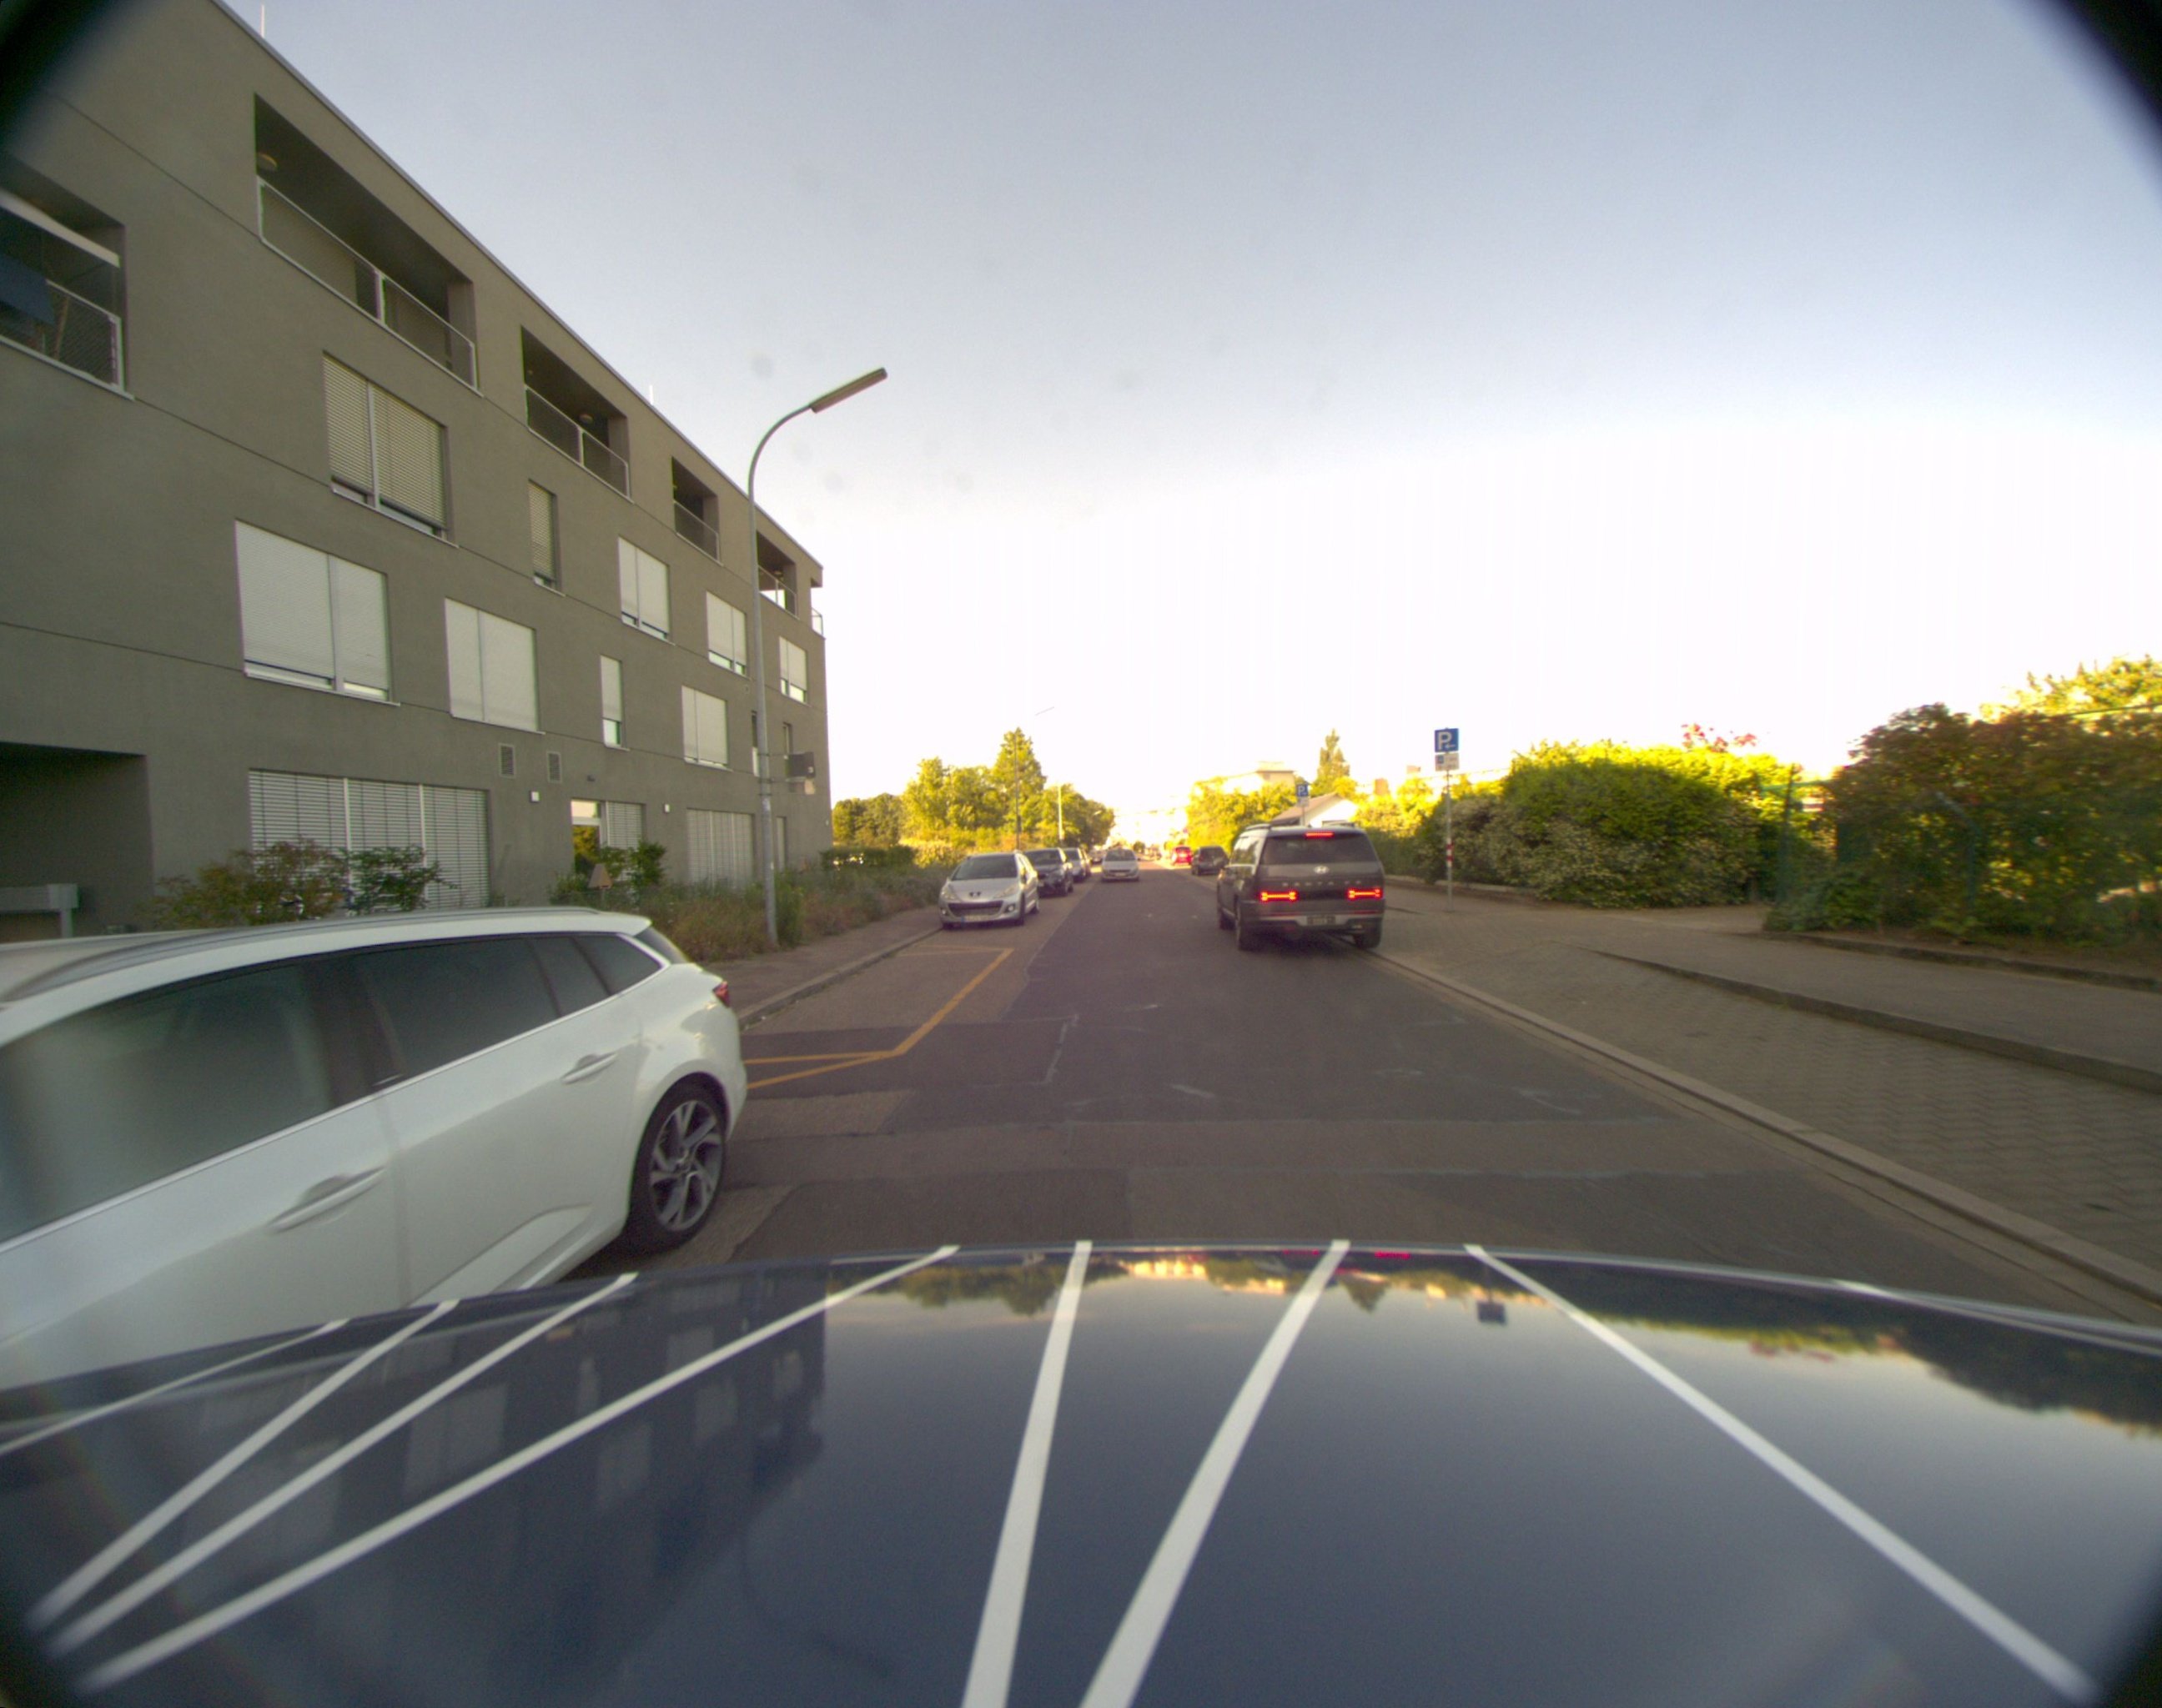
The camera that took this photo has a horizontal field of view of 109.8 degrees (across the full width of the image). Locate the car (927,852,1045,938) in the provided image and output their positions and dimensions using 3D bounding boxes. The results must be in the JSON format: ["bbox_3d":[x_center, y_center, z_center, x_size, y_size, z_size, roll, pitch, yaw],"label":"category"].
[{"bbox_3d":[-1.921,0.790,16.670,1.710,1.517,4.155,-3,1,4],"label":"car"}]

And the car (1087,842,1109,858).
[{"bbox_3d":[1.750,-0.434,76.286,1.873,1.517,4.155,-2,1,4],"label":"car"}]

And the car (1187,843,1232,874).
[{"bbox_3d":[6.563,0.177,39.204,1.700,1.415,4.517,-4,1,3],"label":"car"}]

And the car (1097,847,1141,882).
[{"bbox_3d":[1.662,0.439,34.439,1.679,1.440,3.999,-2,1,-2],"label":"car"}]

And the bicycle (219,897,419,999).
[{"bbox_3d":[-9.826,1.171,9.915,0.553,1.055,1.843,-3,1,7],"label":"bicycle"}]

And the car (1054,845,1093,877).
[{"bbox_3d":[-0.366,0.348,40.873,1.710,1.517,3.093,-4,1,4],"label":"car"}]

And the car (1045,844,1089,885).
[{"bbox_3d":[-0.602,0.425,36.036,1.711,1.696,4.349,-4,1,2],"label":"car"}]

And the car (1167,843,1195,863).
[{"bbox_3d":[7.522,-0.124,57.369,1.699,1.421,4.386,-2,1,3],"label":"car"}]

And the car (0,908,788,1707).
[{"bbox_3d":[-2.592,1.079,1.692,1.749,1.421,4.586,-4,1,4],"label":"car"}]

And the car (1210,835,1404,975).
[{"bbox_3d":[3.200,0.596,11.813,1.947,1.717,4.839,0,1,5],"label":"car"}]

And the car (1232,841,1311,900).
[{"bbox_3d":[5.335,0.404,21.652,1.531,1.479,3.402,-2,1,3],"label":"car"}]

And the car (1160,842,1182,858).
[{"bbox_3d":[7.947,-0.389,67.261,1.699,1.361,3.911,-2,1,3],"label":"car"}]

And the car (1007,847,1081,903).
[{"bbox_3d":[-1.142,0.629,25.804,1.748,1.558,4.804,-4,1,5],"label":"car"}]
